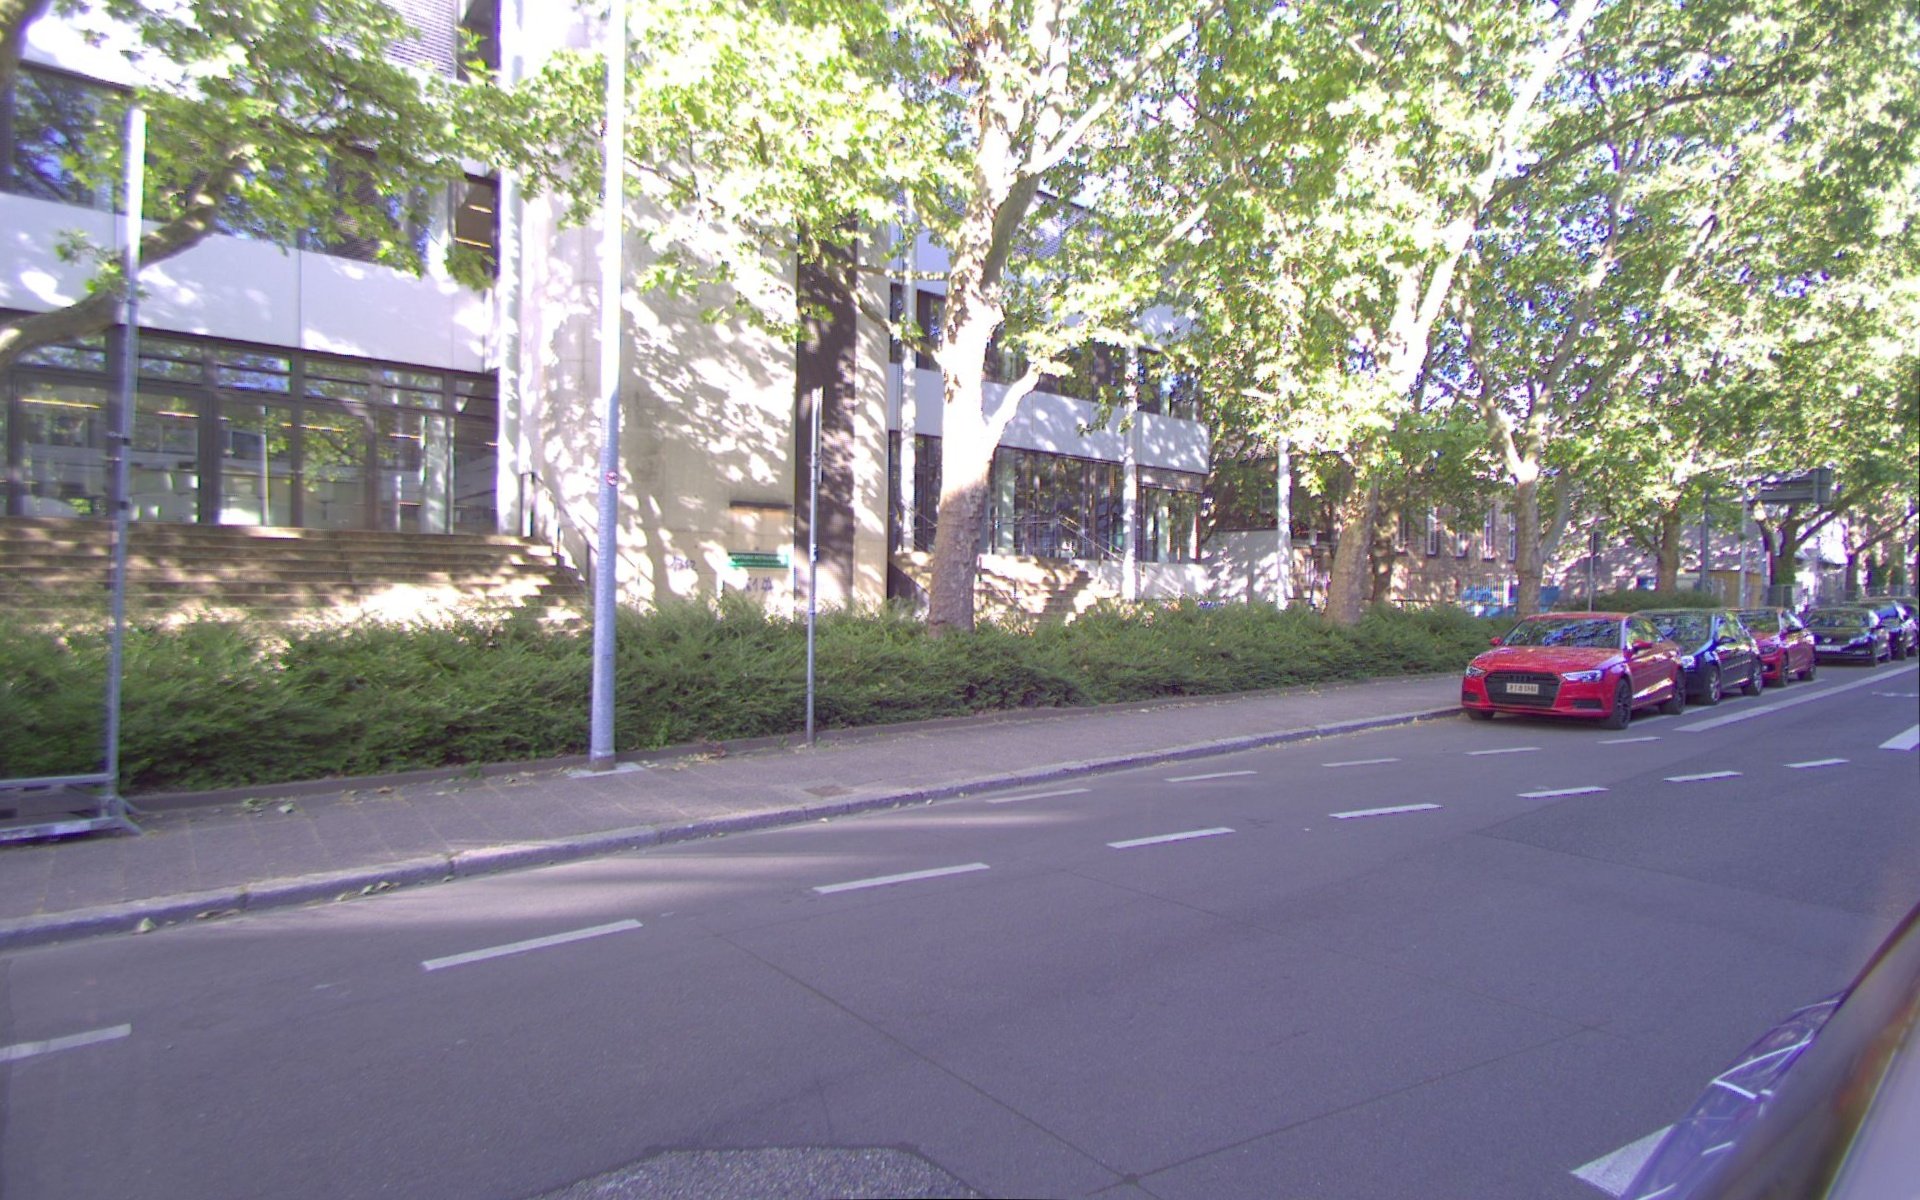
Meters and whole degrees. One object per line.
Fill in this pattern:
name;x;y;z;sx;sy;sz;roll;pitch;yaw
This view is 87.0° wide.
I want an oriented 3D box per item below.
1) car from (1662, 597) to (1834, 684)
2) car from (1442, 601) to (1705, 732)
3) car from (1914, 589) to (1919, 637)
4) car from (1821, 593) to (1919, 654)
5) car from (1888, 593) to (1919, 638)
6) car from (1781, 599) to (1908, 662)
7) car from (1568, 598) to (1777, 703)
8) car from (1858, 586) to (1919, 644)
car;15.661;0.721;20.056;3.762;1.517;1.997;-1;0;-41
car;8.271;0.754;13.527;3.930;1.443;1.906;-1;1;-41
car;39.631;0.490;40.297;3.930;1.872;1.997;-1;0;-41
car;26.540;0.613;29.185;4.070;1.621;1.997;-1;0;-41
car;36.003;0.561;37.453;4.070;1.585;1.997;-1;0;-41
car;22.814;0.726;26.064;3.527;1.474;1.997;-1;1;-41
car;11.726;0.732;16.595;3.581;1.478;1.997;-1;1;-41
car;31.278;0.454;33.313;4.493;1.809;1.997;-1;0;-41
